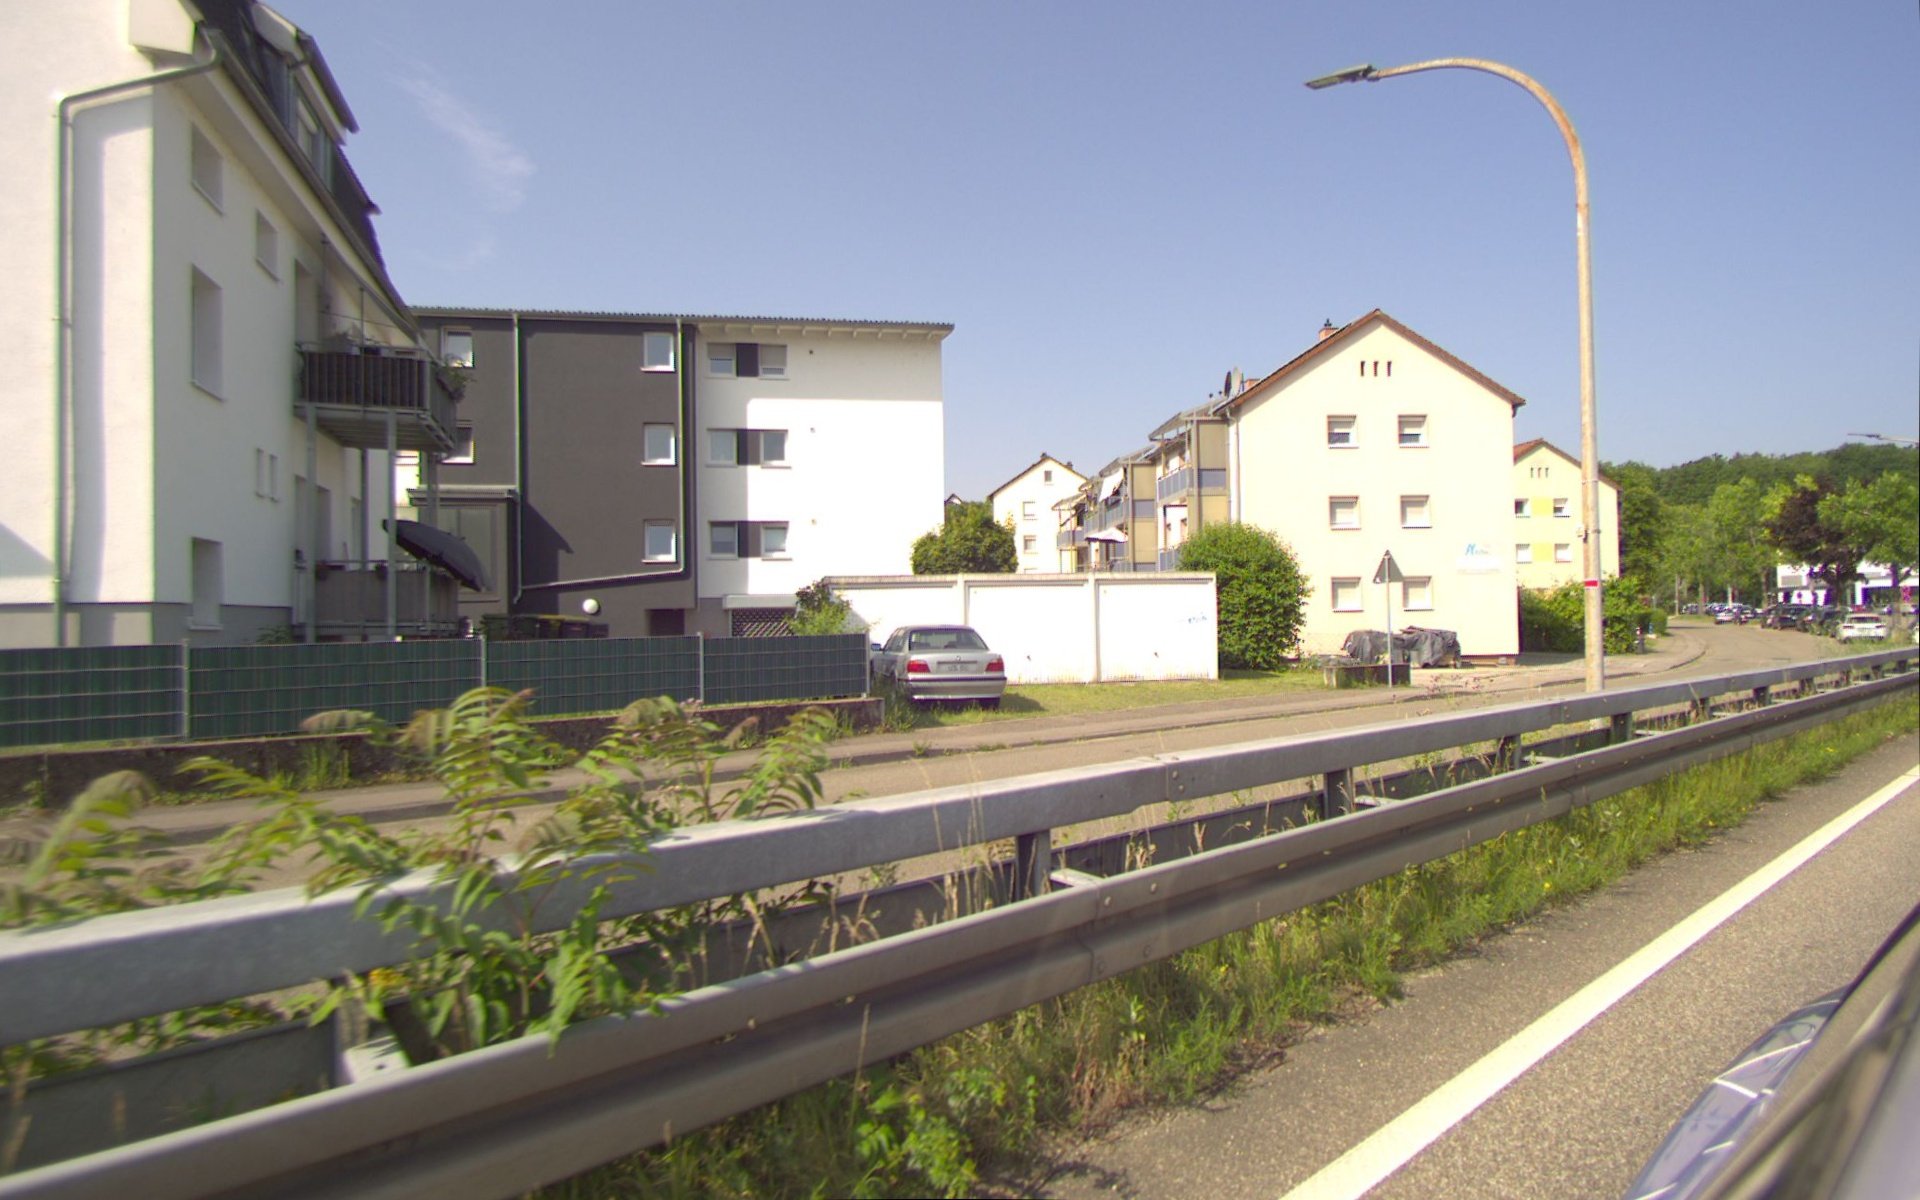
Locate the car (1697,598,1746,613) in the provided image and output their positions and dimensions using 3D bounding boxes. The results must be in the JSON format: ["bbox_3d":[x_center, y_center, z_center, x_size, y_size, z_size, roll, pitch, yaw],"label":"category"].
[{"bbox_3d":[92.353,0.669,122.752,4.725,1.654,1.906,1,1,38],"label":"car"}]

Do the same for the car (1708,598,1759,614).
[{"bbox_3d":[90.202,0.688,118.097,4.724,1.654,1.906,1,1,37],"label":"car"}]

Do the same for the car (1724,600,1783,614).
[{"bbox_3d":[85.295,0.743,108.870,4.712,1.477,1.911,0,1,31],"label":"car"}]

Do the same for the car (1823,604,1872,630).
[{"bbox_3d":[51.194,0.964,58.448,1.698,1.423,3.617,0,0,35],"label":"car"}]

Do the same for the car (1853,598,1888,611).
[{"bbox_3d":[115.277,0.583,128.146,4.519,1.565,2.005,-1,1,-31],"label":"car"}]

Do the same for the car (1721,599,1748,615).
[{"bbox_3d":[72.392,0.633,94.642,1.775,1.493,3.938,0,0,35],"label":"car"}]

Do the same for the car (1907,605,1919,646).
[{"bbox_3d":[40.380,0.901,39.933,4.230,1.593,1.889,-6,-3,43],"label":"car"}]

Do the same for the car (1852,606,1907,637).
[{"bbox_3d":[44.906,1.006,49.514,1.781,1.438,4.374,0,-1,40],"label":"car"}]

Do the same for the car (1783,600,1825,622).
[{"bbox_3d":[60.492,0.769,72.558,1.902,1.423,4.468,0,0,35],"label":"car"}]

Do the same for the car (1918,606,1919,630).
[{"bbox_3d":[41.928,0.876,41.306,1.736,1.468,3.987,-1,-3,-44],"label":"car"}]

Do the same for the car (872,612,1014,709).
[{"bbox_3d":[-0.450,0.984,18.076,1.718,1.365,4.620,1,1,-11],"label":"car"}]

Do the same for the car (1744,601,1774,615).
[{"bbox_3d":[70.309,0.696,89.106,1.581,1.201,3.623,0,0,31],"label":"car"}]

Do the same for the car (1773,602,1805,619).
[{"bbox_3d":[64.026,0.779,78.177,1.584,1.201,3.617,0,0,35],"label":"car"}]

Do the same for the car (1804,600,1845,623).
[{"bbox_3d":[56.067,0.734,65.669,1.645,1.384,3.617,0,0,35],"label":"car"}]

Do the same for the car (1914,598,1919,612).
[{"bbox_3d":[118.252,0.589,123.526,4.528,1.565,2.001,-1,1,-40],"label":"car"}]

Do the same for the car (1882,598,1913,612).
[{"bbox_3d":[116.636,0.586,125.845,4.524,1.565,2.003,-1,1,-36],"label":"car"}]
